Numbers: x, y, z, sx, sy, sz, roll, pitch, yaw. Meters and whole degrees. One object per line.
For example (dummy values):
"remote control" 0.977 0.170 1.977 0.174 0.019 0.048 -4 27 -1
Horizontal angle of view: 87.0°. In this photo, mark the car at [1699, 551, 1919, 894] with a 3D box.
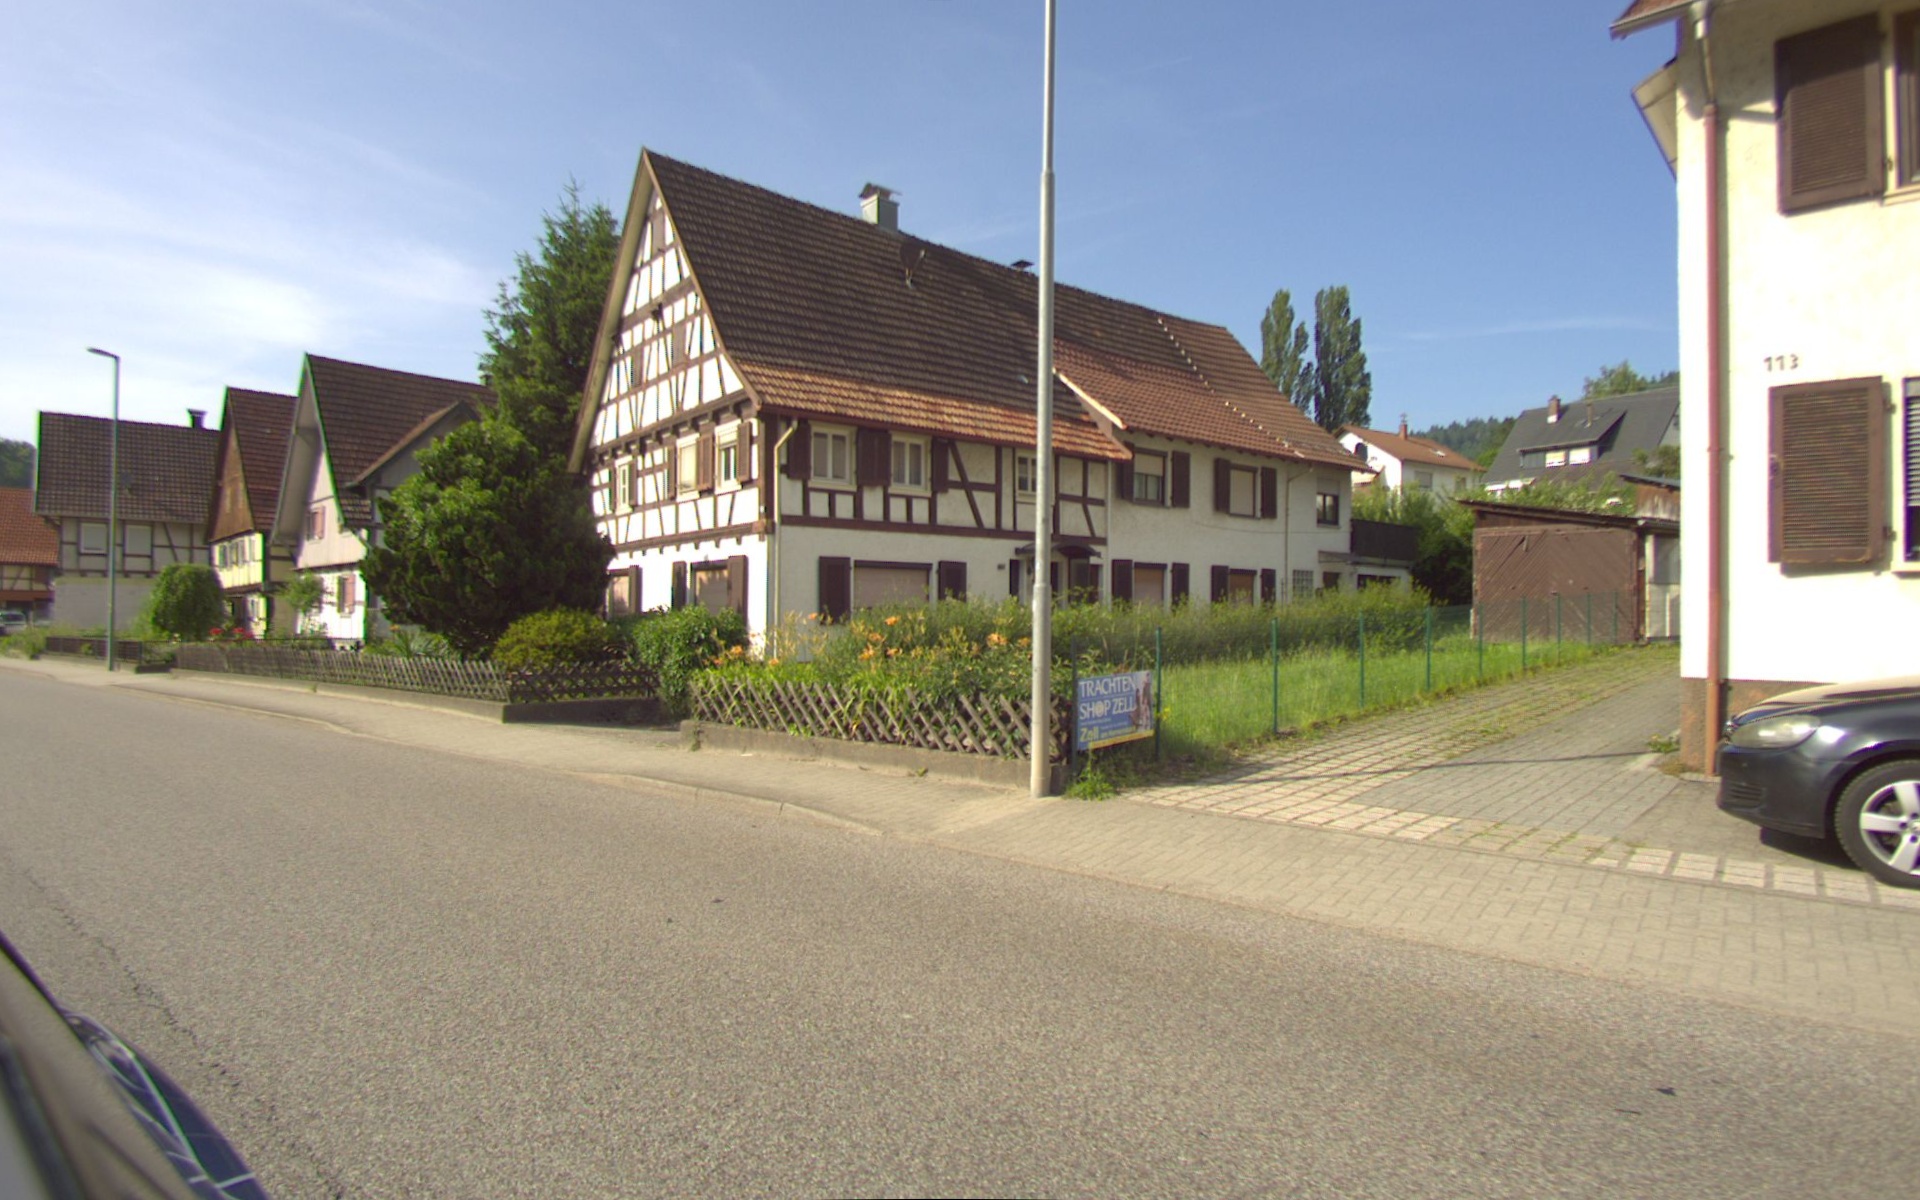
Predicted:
"car" 5.899 0.515 4.405 4.232 1.530 1.866 -1 0 39
